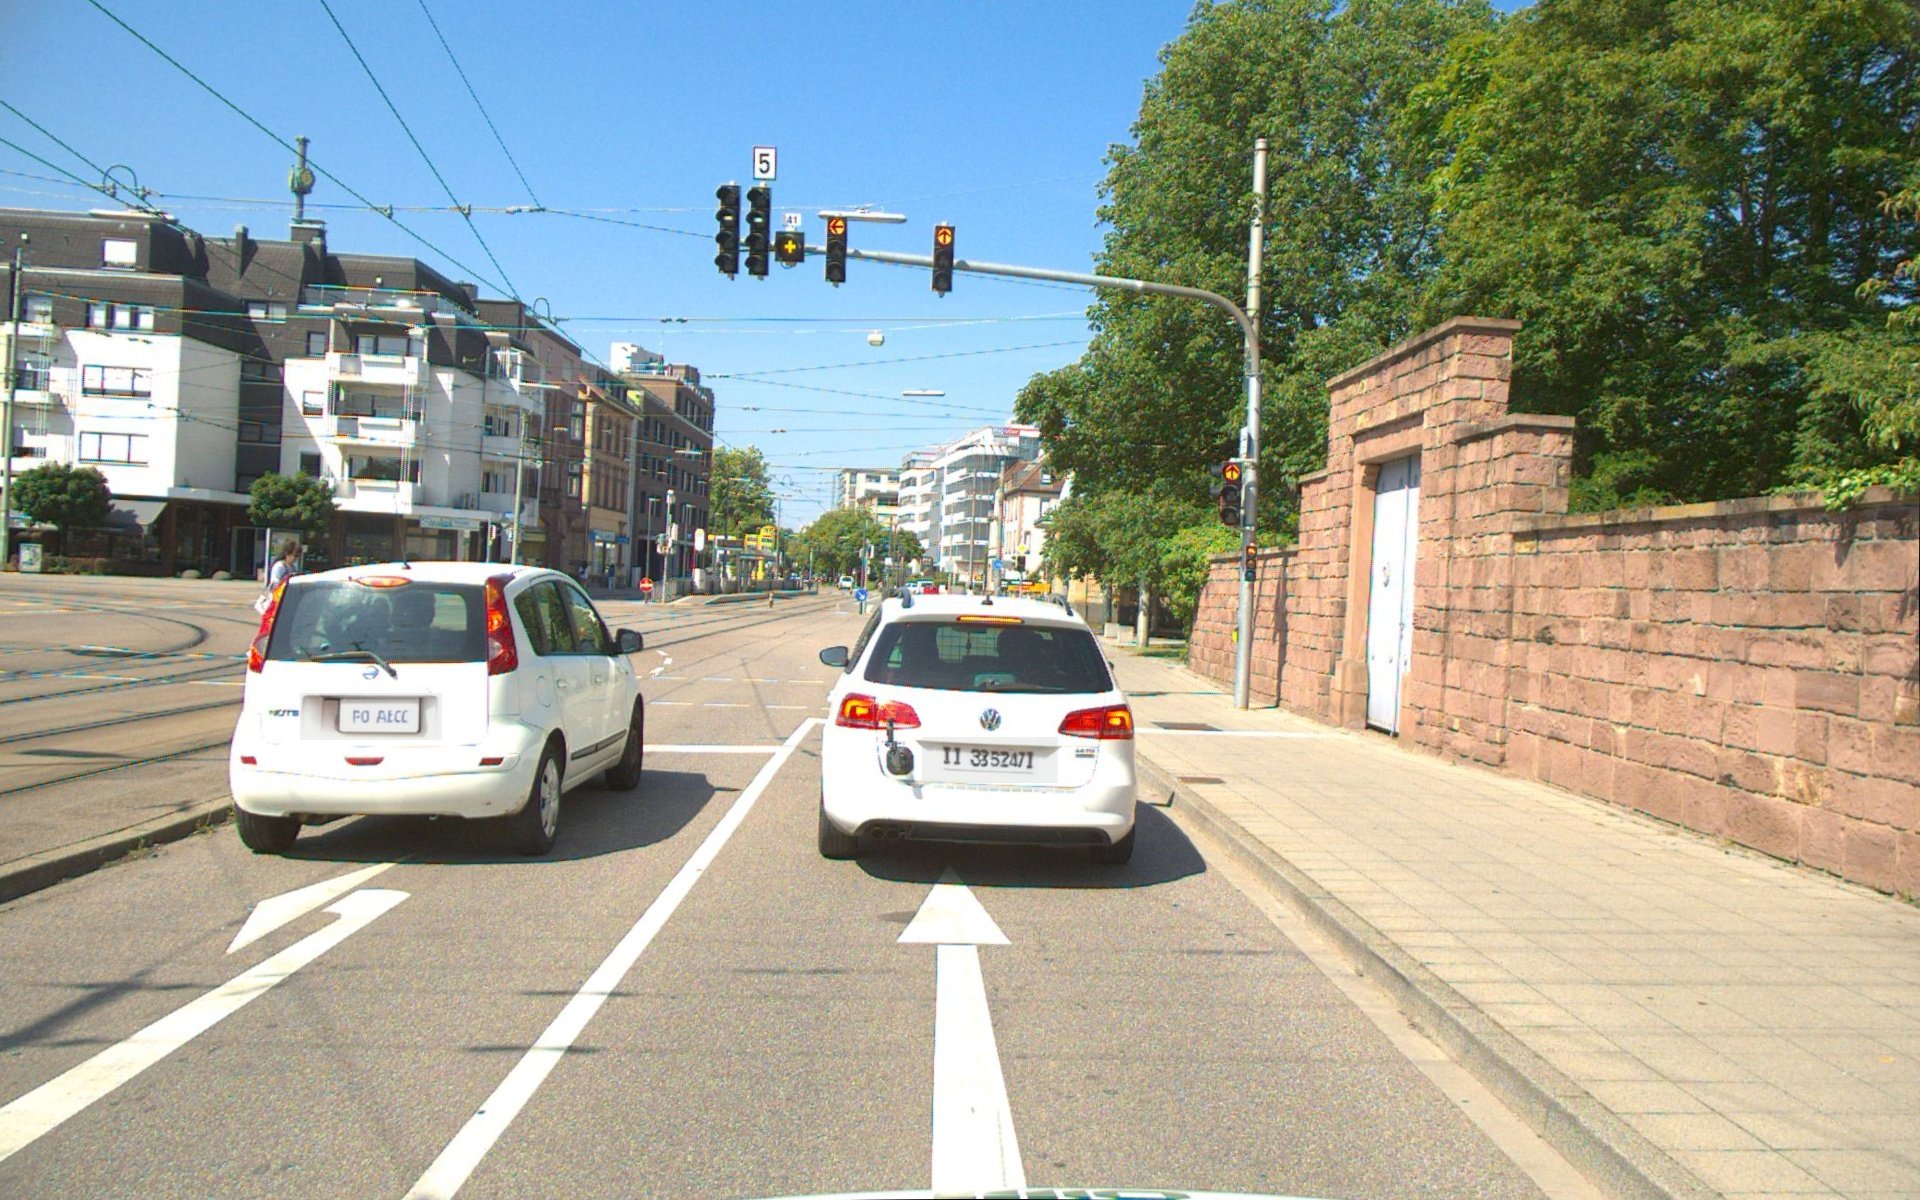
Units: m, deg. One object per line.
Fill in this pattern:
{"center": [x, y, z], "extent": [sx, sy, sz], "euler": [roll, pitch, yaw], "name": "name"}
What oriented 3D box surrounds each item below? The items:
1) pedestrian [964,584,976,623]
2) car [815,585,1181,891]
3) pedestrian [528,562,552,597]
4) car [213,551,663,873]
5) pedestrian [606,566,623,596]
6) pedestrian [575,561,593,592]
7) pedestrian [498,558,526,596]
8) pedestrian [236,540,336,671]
{"center": [0.594, 0.206, 99.721], "extent": [0.675, 2.366, 1.232], "euler": [1, -1, 1], "name": "pedestrian"}
{"center": [0.156, 0.660, 10.118], "extent": [1.771, 1.473, 3.999], "euler": [1, 1, -1], "name": "car"}
{"center": [-21.276, -1.027, 83.757], "extent": [0.843, 1.773, 0.975], "euler": [1, -1, 6], "name": "pedestrian"}
{"center": [-2.960, 0.521, 10.212], "extent": [1.608, 1.593, 3.803], "euler": [1, 1, -1], "name": "car"}
{"center": [-21.017, -1.160, 100.655], "extent": [0.845, 1.773, 0.973], "euler": [1, -1, -6], "name": "pedestrian"}
{"center": [-21.529, -1.331, 94.635], "extent": [0.845, 1.773, 0.973], "euler": [1, -1, -6], "name": "pedestrian"}
{"center": [-21.228, -1.072, 78.381], "extent": [0.966, 1.773, 0.851], "euler": [1, -1, -42], "name": "pedestrian"}
{"center": [-8.900, 0.081, 21.886], "extent": [0.953, 1.680, 0.955], "euler": [1, -1, -5], "name": "pedestrian"}
